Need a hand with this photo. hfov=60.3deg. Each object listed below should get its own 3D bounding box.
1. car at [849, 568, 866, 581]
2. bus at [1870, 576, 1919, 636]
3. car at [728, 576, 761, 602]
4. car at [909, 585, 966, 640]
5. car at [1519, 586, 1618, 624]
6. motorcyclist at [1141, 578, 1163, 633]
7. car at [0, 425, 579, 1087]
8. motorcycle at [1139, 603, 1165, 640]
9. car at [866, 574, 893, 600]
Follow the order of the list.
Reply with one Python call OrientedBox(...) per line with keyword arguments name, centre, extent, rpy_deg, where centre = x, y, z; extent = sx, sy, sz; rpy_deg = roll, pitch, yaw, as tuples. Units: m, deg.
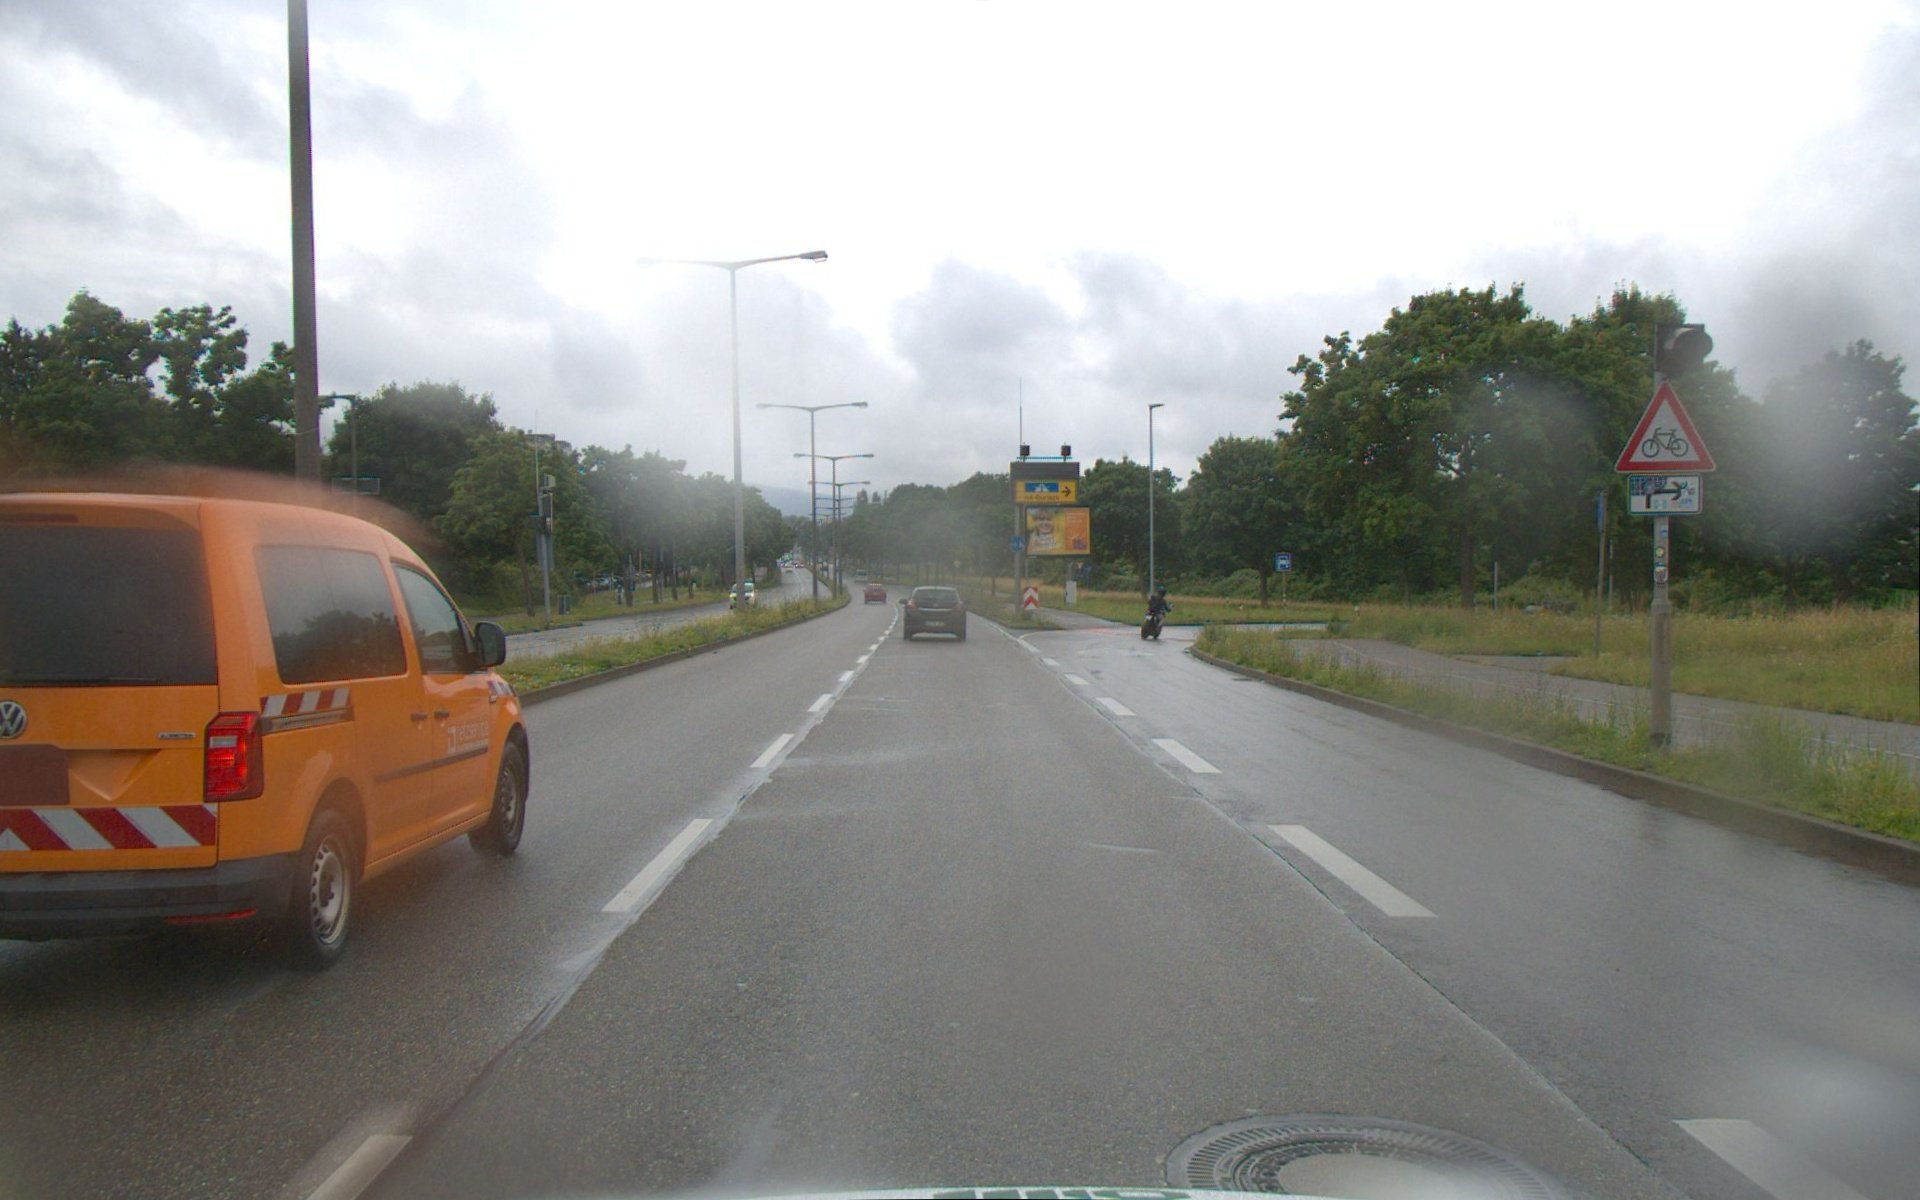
OrientedBox(name="car", centre=(-15.949, -3.933, 256.582), extent=(2.467, 2.088, 5.287), rpy_deg=(-1, 1, -6))
OrientedBox(name="bus", centre=(50.010, 0.187, 75.877), extent=(14.257, 2.726, 2.761), rpy_deg=(-1, 1, 26))
OrientedBox(name="car", centre=(-14.399, -0.740, 110.701), extent=(1.673, 1.658, 4.490), rpy_deg=(-3, 1, -2))
OrientedBox(name="car", centre=(-0.626, 0.301, 44.492), extent=(1.434, 1.352, 3.757), rpy_deg=(0, 1, -2))
OrientedBox(name="car", centre=(27.856, 0.227, 75.709), extent=(3.920, 1.646, 1.854), rpy_deg=(1, 1, -15))
OrientedBox(name="motorcyclist", centre=(6.149, 0.168, 52.957), extent=(0.588, 1.719, 0.861), rpy_deg=(1, 1, 14))
OrientedBox(name="car", centre=(-3.114, 0.467, 7.561), extent=(1.699, 2.054, 4.848), rpy_deg=(1, 0, -1))
OrientedBox(name="motorcycle", centre=(6.156, 0.668, 52.985), extent=(0.588, 1.112, 1.733), rpy_deg=(1, 1, 14))
OrientedBox(name="car", centre=(-5.961, -0.977, 122.689), extent=(1.953, 1.912, 3.999), rpy_deg=(1, 1, -2))
